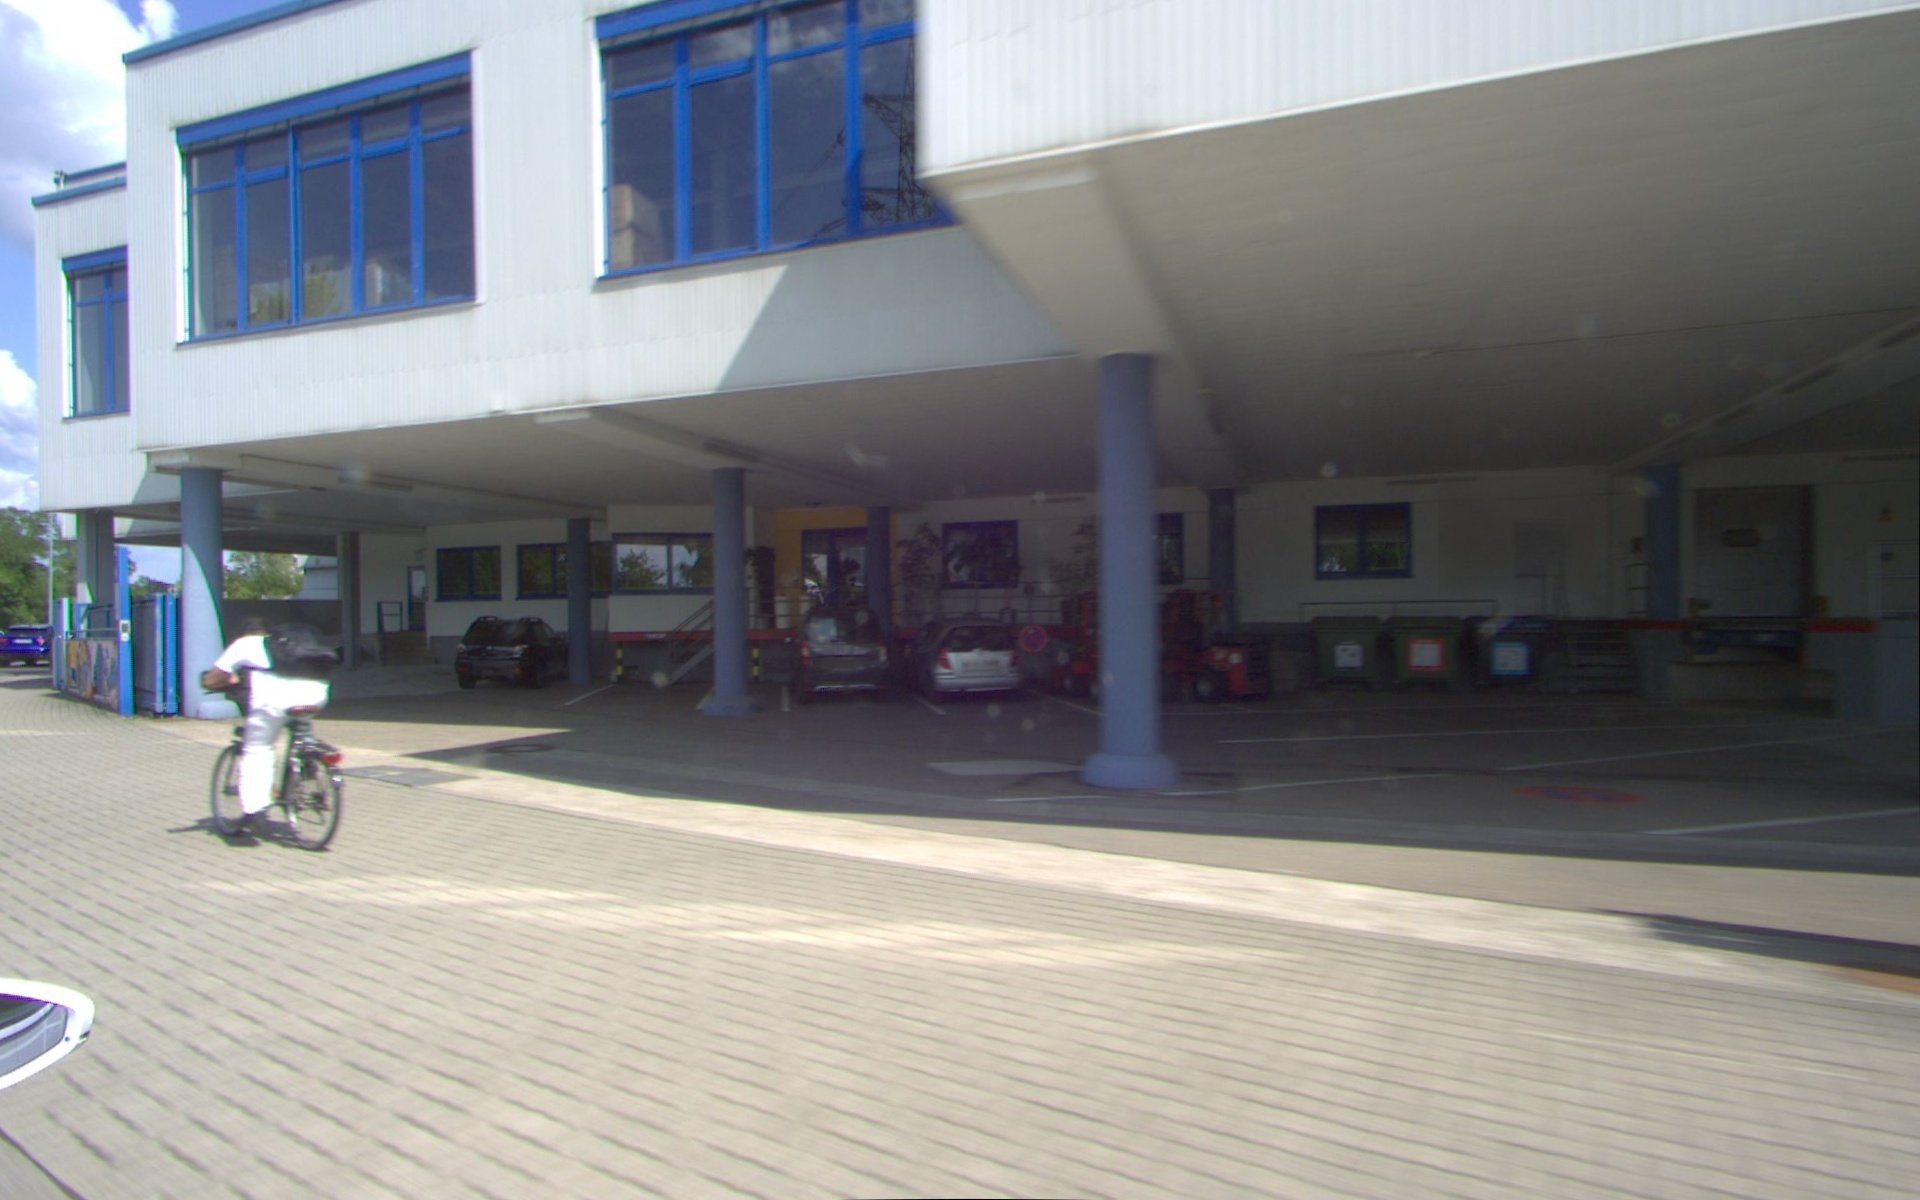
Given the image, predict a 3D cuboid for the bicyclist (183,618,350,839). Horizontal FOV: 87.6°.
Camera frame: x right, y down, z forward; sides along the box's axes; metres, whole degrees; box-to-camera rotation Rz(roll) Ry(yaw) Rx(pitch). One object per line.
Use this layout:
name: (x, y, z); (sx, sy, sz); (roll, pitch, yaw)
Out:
bicyclist: (-4.794, 0.839, 6.931); (0.845, 1.415, 0.662); (-1, -1, 31)

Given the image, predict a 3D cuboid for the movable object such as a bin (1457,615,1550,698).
movable object such as a bin: (10.183, 1.038, 18.825); (1.269, 1.487, 1.337); (0, -1, 16)

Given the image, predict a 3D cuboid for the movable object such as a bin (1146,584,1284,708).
movable object such as a bin: (4.658, 0.850, 18.642); (1.294, 2.111, 2.914); (1, -2, -13)

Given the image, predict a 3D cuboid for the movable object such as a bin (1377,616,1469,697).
movable object such as a bin: (8.847, 1.054, 19.234); (1.413, 1.487, 1.337); (0, -1, 17)

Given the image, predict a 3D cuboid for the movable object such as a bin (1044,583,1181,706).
movable object such as a bin: (2.789, 0.826, 18.972); (1.408, 2.111, 3.433); (1, -2, -13)

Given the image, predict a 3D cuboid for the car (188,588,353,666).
car: (-19.748, 0.853, 28.751); (3.686, 2.038, 1.984); (3, -5, -40)

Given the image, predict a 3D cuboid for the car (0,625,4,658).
car: (-48.736, 2.024, 47.993); (1.720, 1.590, 4.031); (-2, -2, 37)

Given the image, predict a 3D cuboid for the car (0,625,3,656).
car: (-50.180, 2.045, 49.760); (1.720, 1.590, 3.565); (-2, -2, 37)

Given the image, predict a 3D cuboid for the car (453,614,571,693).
car: (-10.806, 1.238, 24.399); (1.639, 1.681, 3.660); (1, 1, -7)

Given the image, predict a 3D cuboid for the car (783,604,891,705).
car: (-2.579, 1.054, 20.203); (1.727, 1.803, 4.102); (1, -2, -13)

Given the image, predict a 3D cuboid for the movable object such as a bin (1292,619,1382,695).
movable object such as a bin: (7.382, 1.094, 19.737); (1.545, 1.423, 1.468); (0, -1, 17)

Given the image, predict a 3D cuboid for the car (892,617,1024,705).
car: (-0.141, 1.188, 19.690); (1.809, 1.565, 3.661); (1, -3, -13)

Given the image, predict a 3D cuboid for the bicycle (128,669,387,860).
bicycle: (-4.967, 1.078, 7.035); (2.135, 1.123, 0.665); (-1, -1, 30)

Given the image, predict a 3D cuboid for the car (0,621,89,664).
car: (-36.867, 1.718, 40.330); (1.889, 1.613, 4.677); (0, -2, -31)
